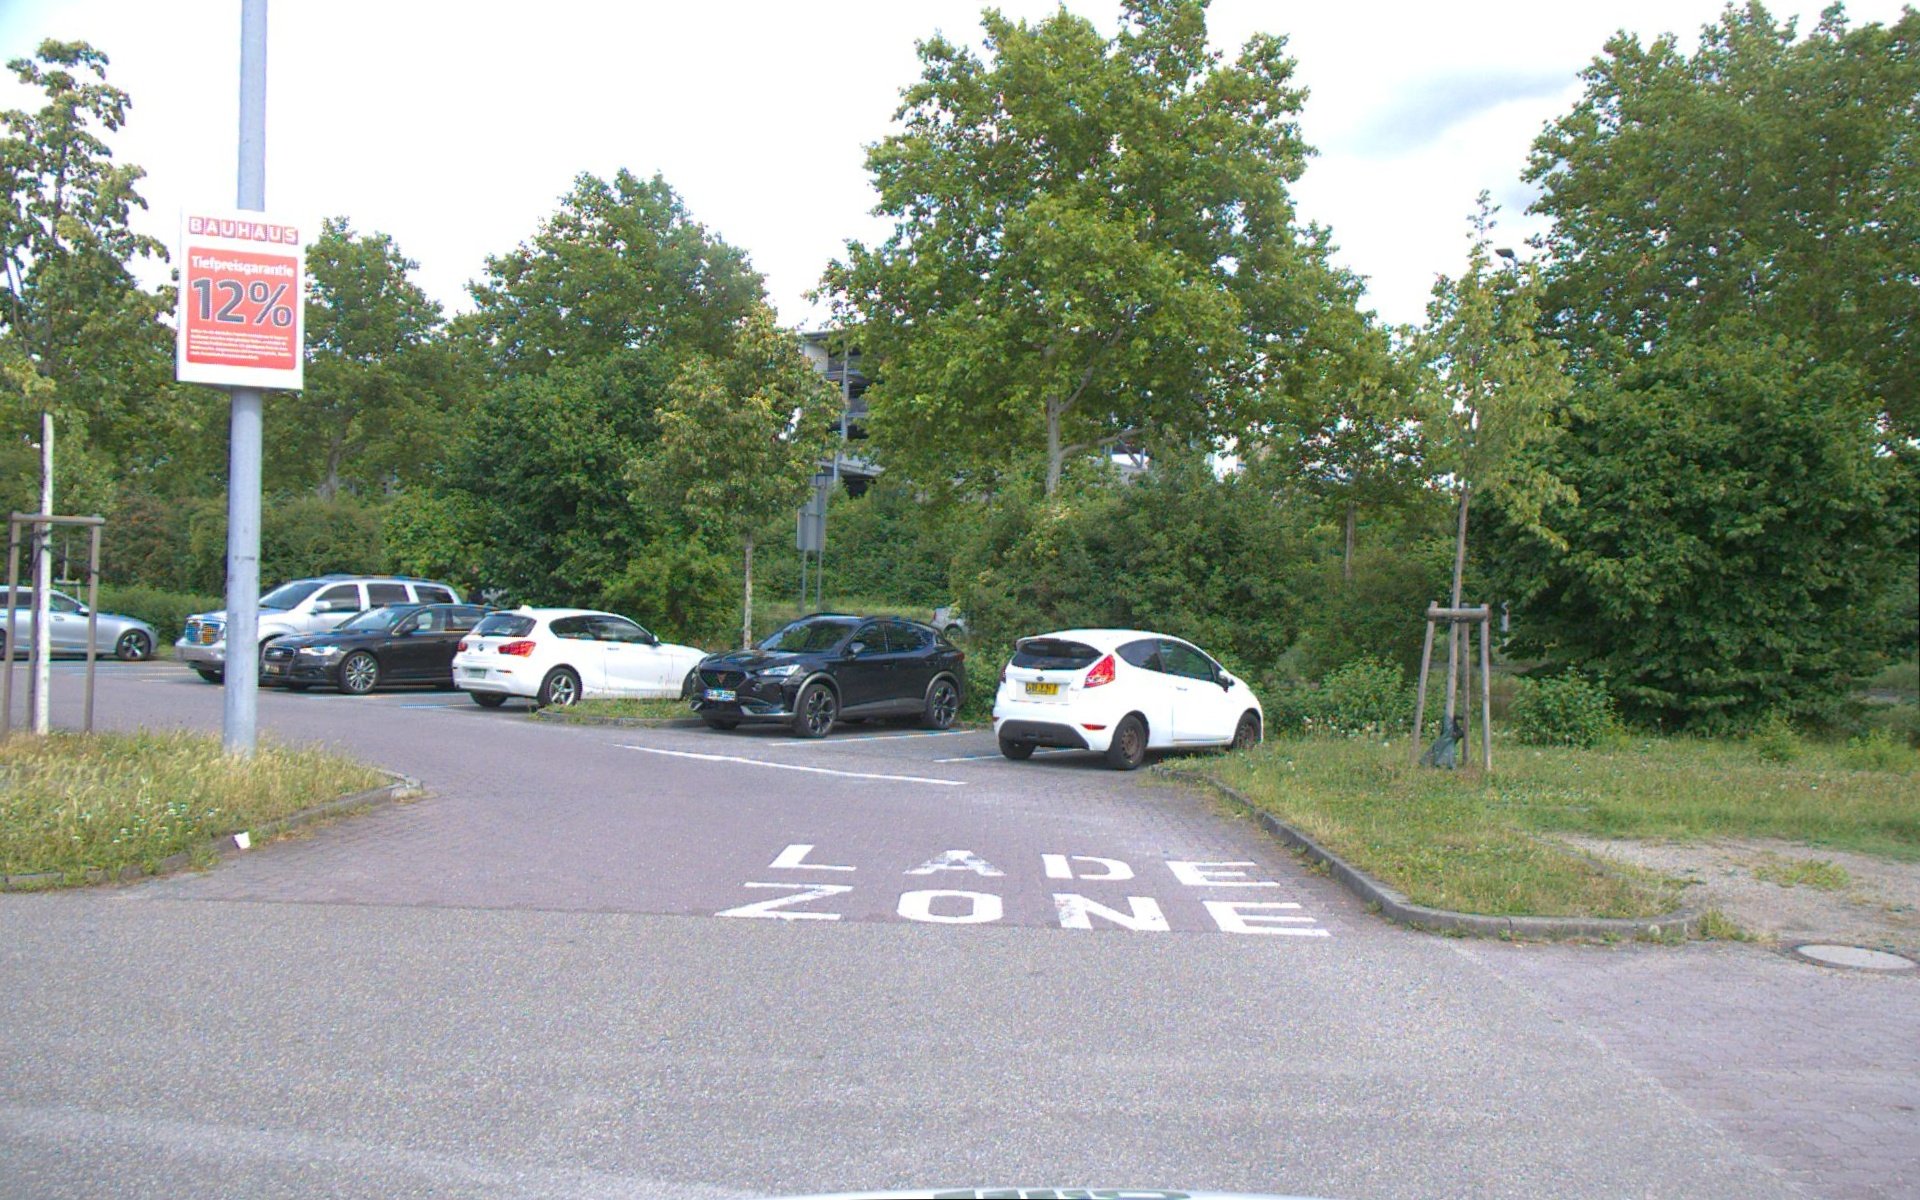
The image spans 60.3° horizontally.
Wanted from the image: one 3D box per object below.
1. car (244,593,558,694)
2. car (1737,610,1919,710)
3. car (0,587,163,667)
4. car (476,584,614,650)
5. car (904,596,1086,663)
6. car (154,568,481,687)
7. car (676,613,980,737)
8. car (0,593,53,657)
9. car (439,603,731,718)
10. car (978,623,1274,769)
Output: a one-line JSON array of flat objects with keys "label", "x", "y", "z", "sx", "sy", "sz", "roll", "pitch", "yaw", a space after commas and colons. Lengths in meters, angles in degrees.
[{"label": "car", "x": -9.088, "y": 0.694, "z": 27.271, "sx": 1.803, "sy": 1.476, "sz": 4.706, "roll": 2, "pitch": 0, "yaw": 36}, {"label": "car", "x": 17.259, "y": 1.127, "z": 31.813, "sx": 3.917, "sy": 1.745, "sz": 1.994, "roll": 2, "pitch": 0, "yaw": 34}, {"label": "car", "x": -18.858, "y": 0.527, "z": 33.489, "sx": 1.748, "sy": 1.531, "sz": 4.638, "roll": 2, "pitch": 0, "yaw": 34}, {"label": "car", "x": -13.886, "y": 0.559, "z": 55.228, "sx": 4.401, "sy": 2.049, "sz": 1.912, "roll": 1, "pitch": -3, "yaw": 33}, {"label": "car", "x": 0.922, "y": 0.759, "z": 44.433, "sx": 4.642, "sy": 1.617, "sz": 1.744, "roll": 2, "pitch": 0, "yaw": 32}, {"label": "car", "x": -11.078, "y": 0.469, "z": 28.931, "sx": 1.950, "sy": 1.875, "sz": 5.131, "roll": 2, "pitch": 0, "yaw": 34}, {"label": "car", "x": -1.632, "y": 0.932, "z": 21.881, "sx": 1.698, "sy": 1.435, "sz": 4.227, "roll": 2, "pitch": 0, "yaw": 35}, {"label": "car", "x": -22.610, "y": 0.528, "z": 36.751, "sx": 1.664, "sy": 1.405, "sz": 3.987, "roll": -1, "pitch": -3, "yaw": 34}, {"label": "car", "x": -5.430, "y": 0.845, "z": 24.345, "sx": 1.658, "sy": 1.536, "sz": 4.063, "roll": 0, "pitch": -1, "yaw": 38}, {"label": "car", "x": 1.961, "y": 1.022, "z": 18.778, "sx": 1.639, "sy": 1.436, "sz": 3.539, "roll": 2, "pitch": 0, "yaw": 40}]
